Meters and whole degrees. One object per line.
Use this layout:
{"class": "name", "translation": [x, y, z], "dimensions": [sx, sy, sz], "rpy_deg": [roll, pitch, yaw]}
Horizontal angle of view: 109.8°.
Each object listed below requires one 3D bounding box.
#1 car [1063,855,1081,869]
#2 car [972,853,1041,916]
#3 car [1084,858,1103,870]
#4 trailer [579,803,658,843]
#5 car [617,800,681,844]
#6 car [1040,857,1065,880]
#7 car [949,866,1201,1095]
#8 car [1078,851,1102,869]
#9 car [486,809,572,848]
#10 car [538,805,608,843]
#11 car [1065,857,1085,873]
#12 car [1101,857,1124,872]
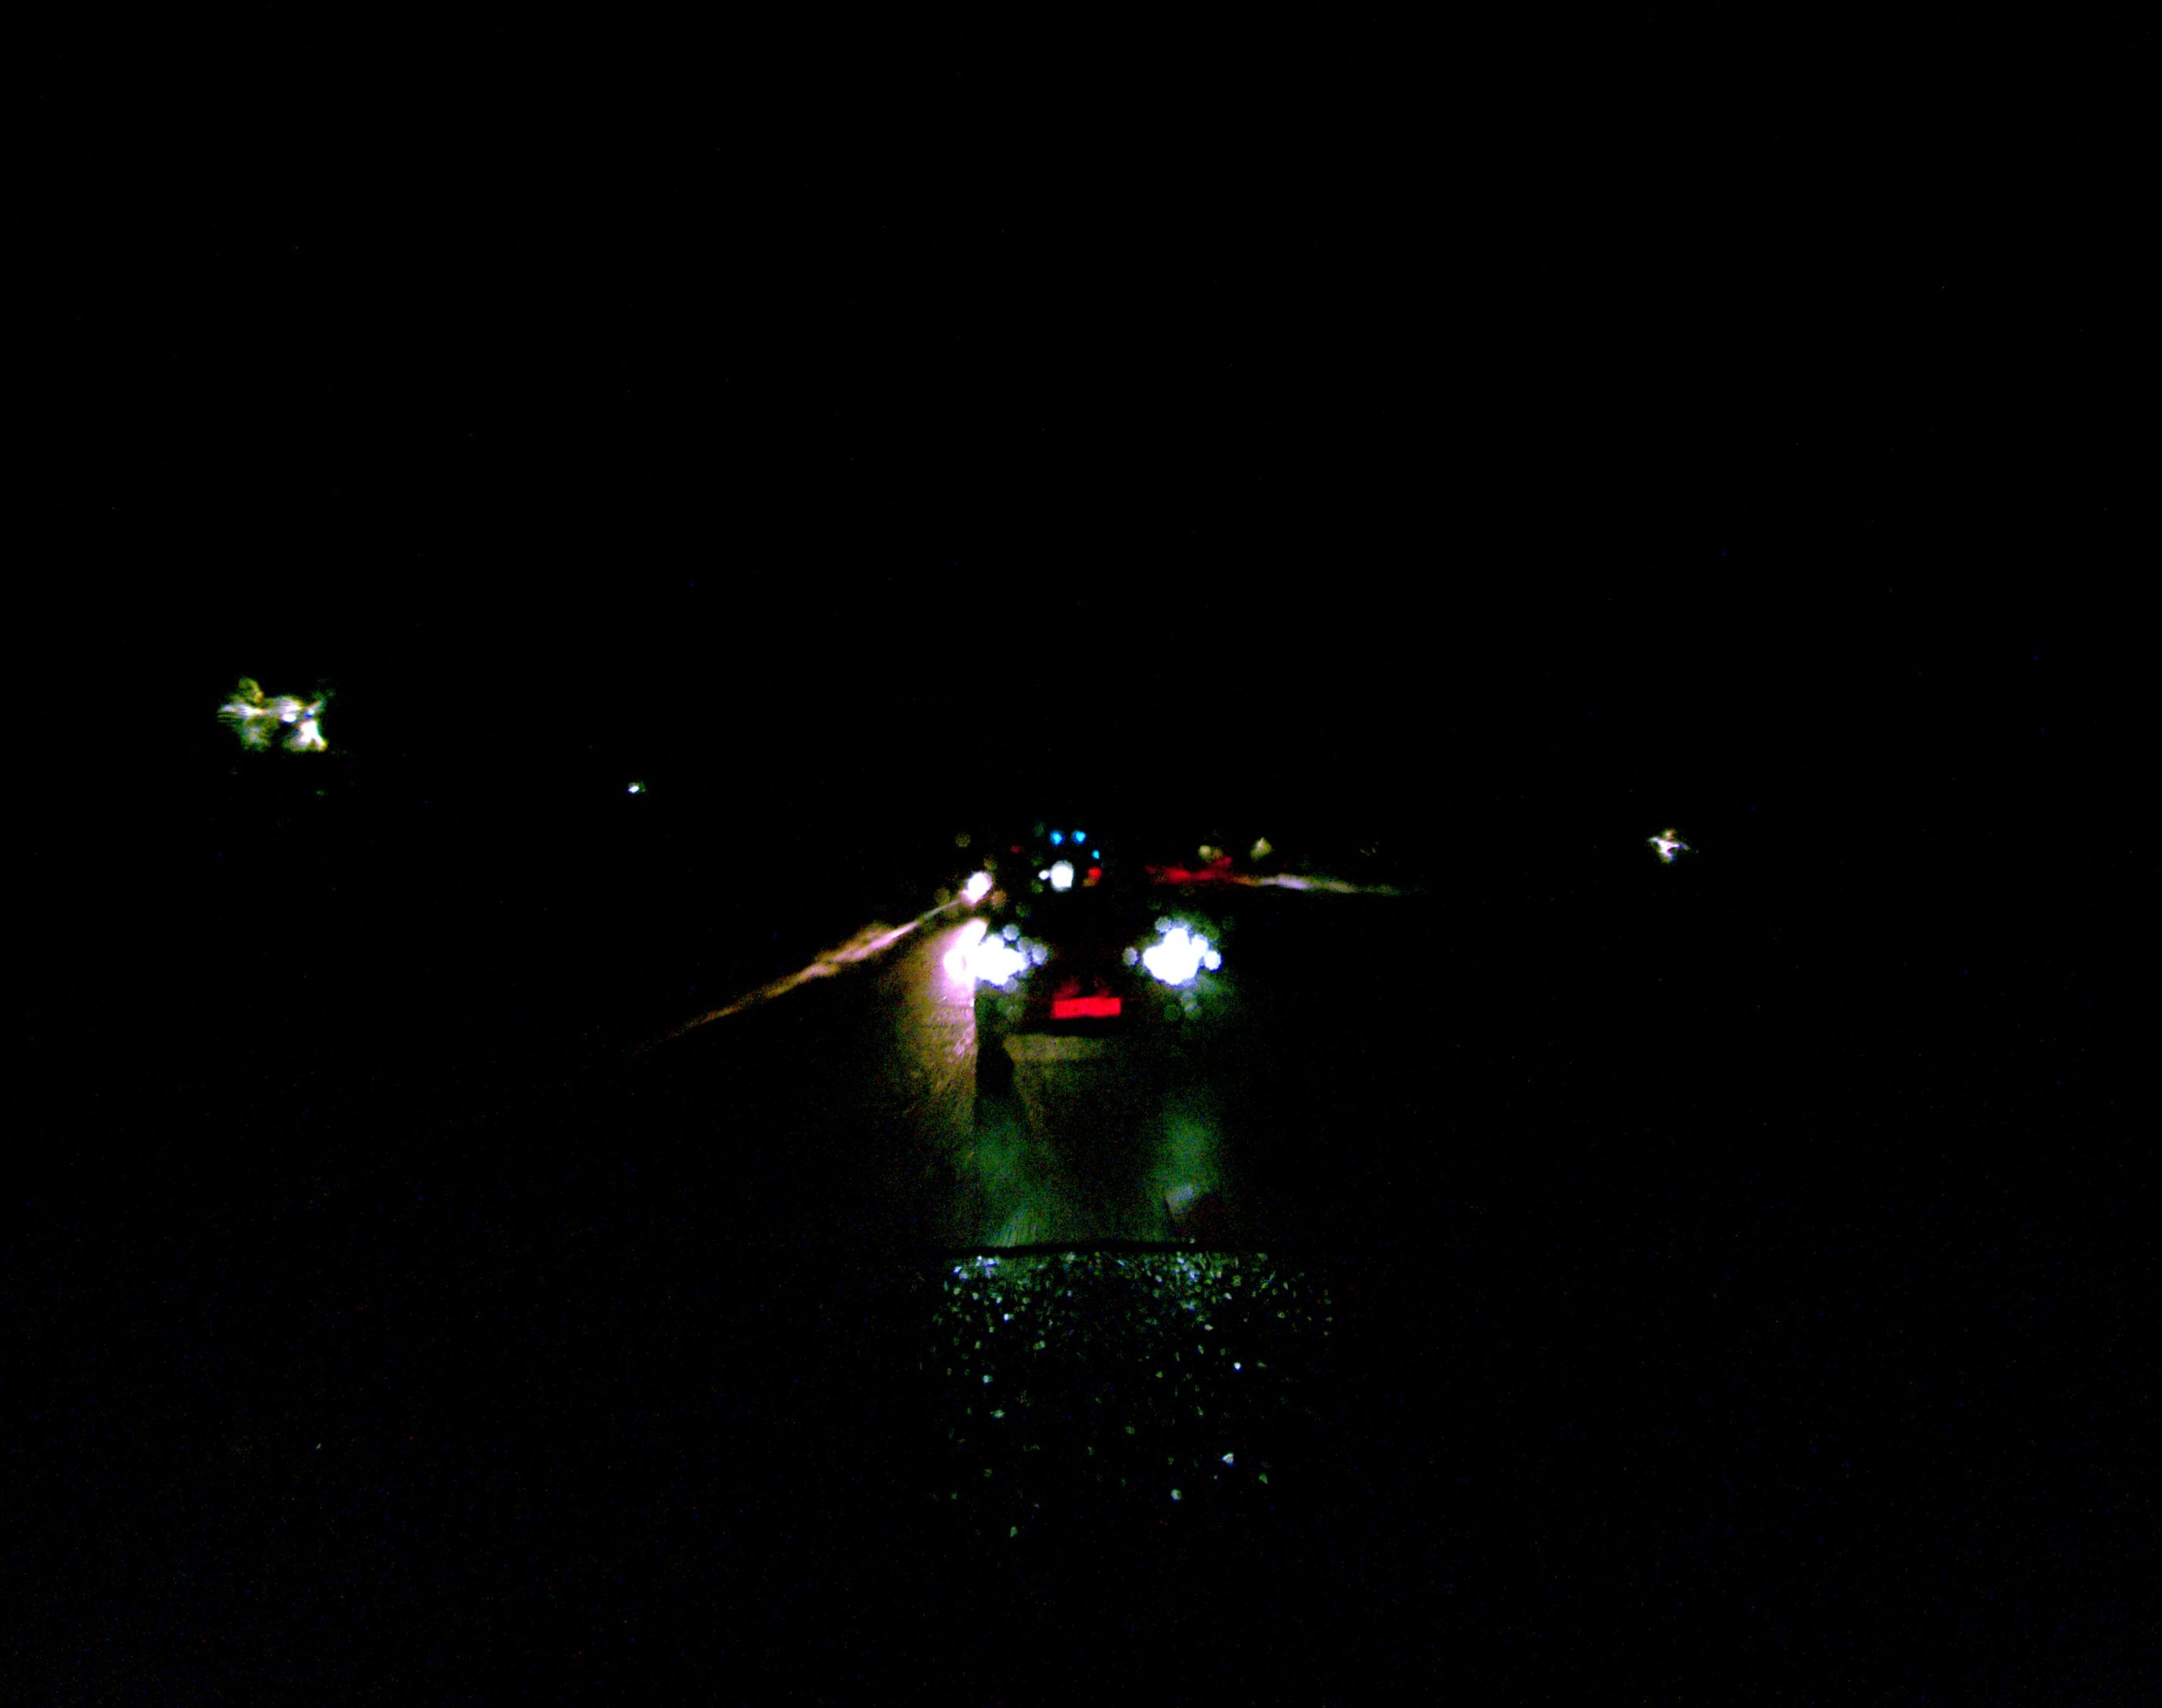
{"class": "car", "translation": [-1.102, 0.924, 88.665], "dimensions": [1.849, 1.565, 4.595], "rpy_deg": [-2, 0, -3]}
{"class": "car", "translation": [-2.361, 0.918, 25.150], "dimensions": [1.759, 1.807, 4.710], "rpy_deg": [-2, 0, 0]}
{"class": "car", "translation": [1.601, 1.234, 98.605], "dimensions": [2.083, 1.441, 4.990], "rpy_deg": [-2, 0, -4]}
{"class": "trailer", "translation": [-26.530, -1.725, 43.835], "dimensions": [2.234, 2.060, 5.713], "rpy_deg": [-1, 0, -14]}
{"class": "car", "translation": [-27.878, -1.990, 49.242], "dimensions": [2.122, 2.619, 5.444], "rpy_deg": [-1, 0, -14]}
{"class": "car", "translation": [-1.890, 0.987, 51.577], "dimensions": [1.625, 1.477, 3.785], "rpy_deg": [-1, -1, -1]}
{"class": "car", "translation": [-0.041, 0.961, 7.921], "dimensions": [1.810, 1.590, 4.786], "rpy_deg": [-1, 0, 0]}
{"class": "car", "translation": [0.724, 0.520, 65.662], "dimensions": [1.699, 1.426, 4.291], "rpy_deg": [-2, 1, -4]}
{"class": "car", "translation": [-23.279, -1.047, 32.201], "dimensions": [1.619, 1.464, 3.994], "rpy_deg": [-2, 0, -16]}
{"class": "car", "translation": [-24.399, -1.423, 36.638], "dimensions": [1.619, 1.630, 3.994], "rpy_deg": [-2, 0, -16]}
{"class": "car", "translation": [-0.669, 1.182, 81.196], "dimensions": [1.810, 1.620, 4.414], "rpy_deg": [-2, 0, -3]}
{"class": "car", "translation": [3.224, 1.033, 78.185], "dimensions": [1.923, 1.435, 4.544], "rpy_deg": [-2, 0, -3]}
